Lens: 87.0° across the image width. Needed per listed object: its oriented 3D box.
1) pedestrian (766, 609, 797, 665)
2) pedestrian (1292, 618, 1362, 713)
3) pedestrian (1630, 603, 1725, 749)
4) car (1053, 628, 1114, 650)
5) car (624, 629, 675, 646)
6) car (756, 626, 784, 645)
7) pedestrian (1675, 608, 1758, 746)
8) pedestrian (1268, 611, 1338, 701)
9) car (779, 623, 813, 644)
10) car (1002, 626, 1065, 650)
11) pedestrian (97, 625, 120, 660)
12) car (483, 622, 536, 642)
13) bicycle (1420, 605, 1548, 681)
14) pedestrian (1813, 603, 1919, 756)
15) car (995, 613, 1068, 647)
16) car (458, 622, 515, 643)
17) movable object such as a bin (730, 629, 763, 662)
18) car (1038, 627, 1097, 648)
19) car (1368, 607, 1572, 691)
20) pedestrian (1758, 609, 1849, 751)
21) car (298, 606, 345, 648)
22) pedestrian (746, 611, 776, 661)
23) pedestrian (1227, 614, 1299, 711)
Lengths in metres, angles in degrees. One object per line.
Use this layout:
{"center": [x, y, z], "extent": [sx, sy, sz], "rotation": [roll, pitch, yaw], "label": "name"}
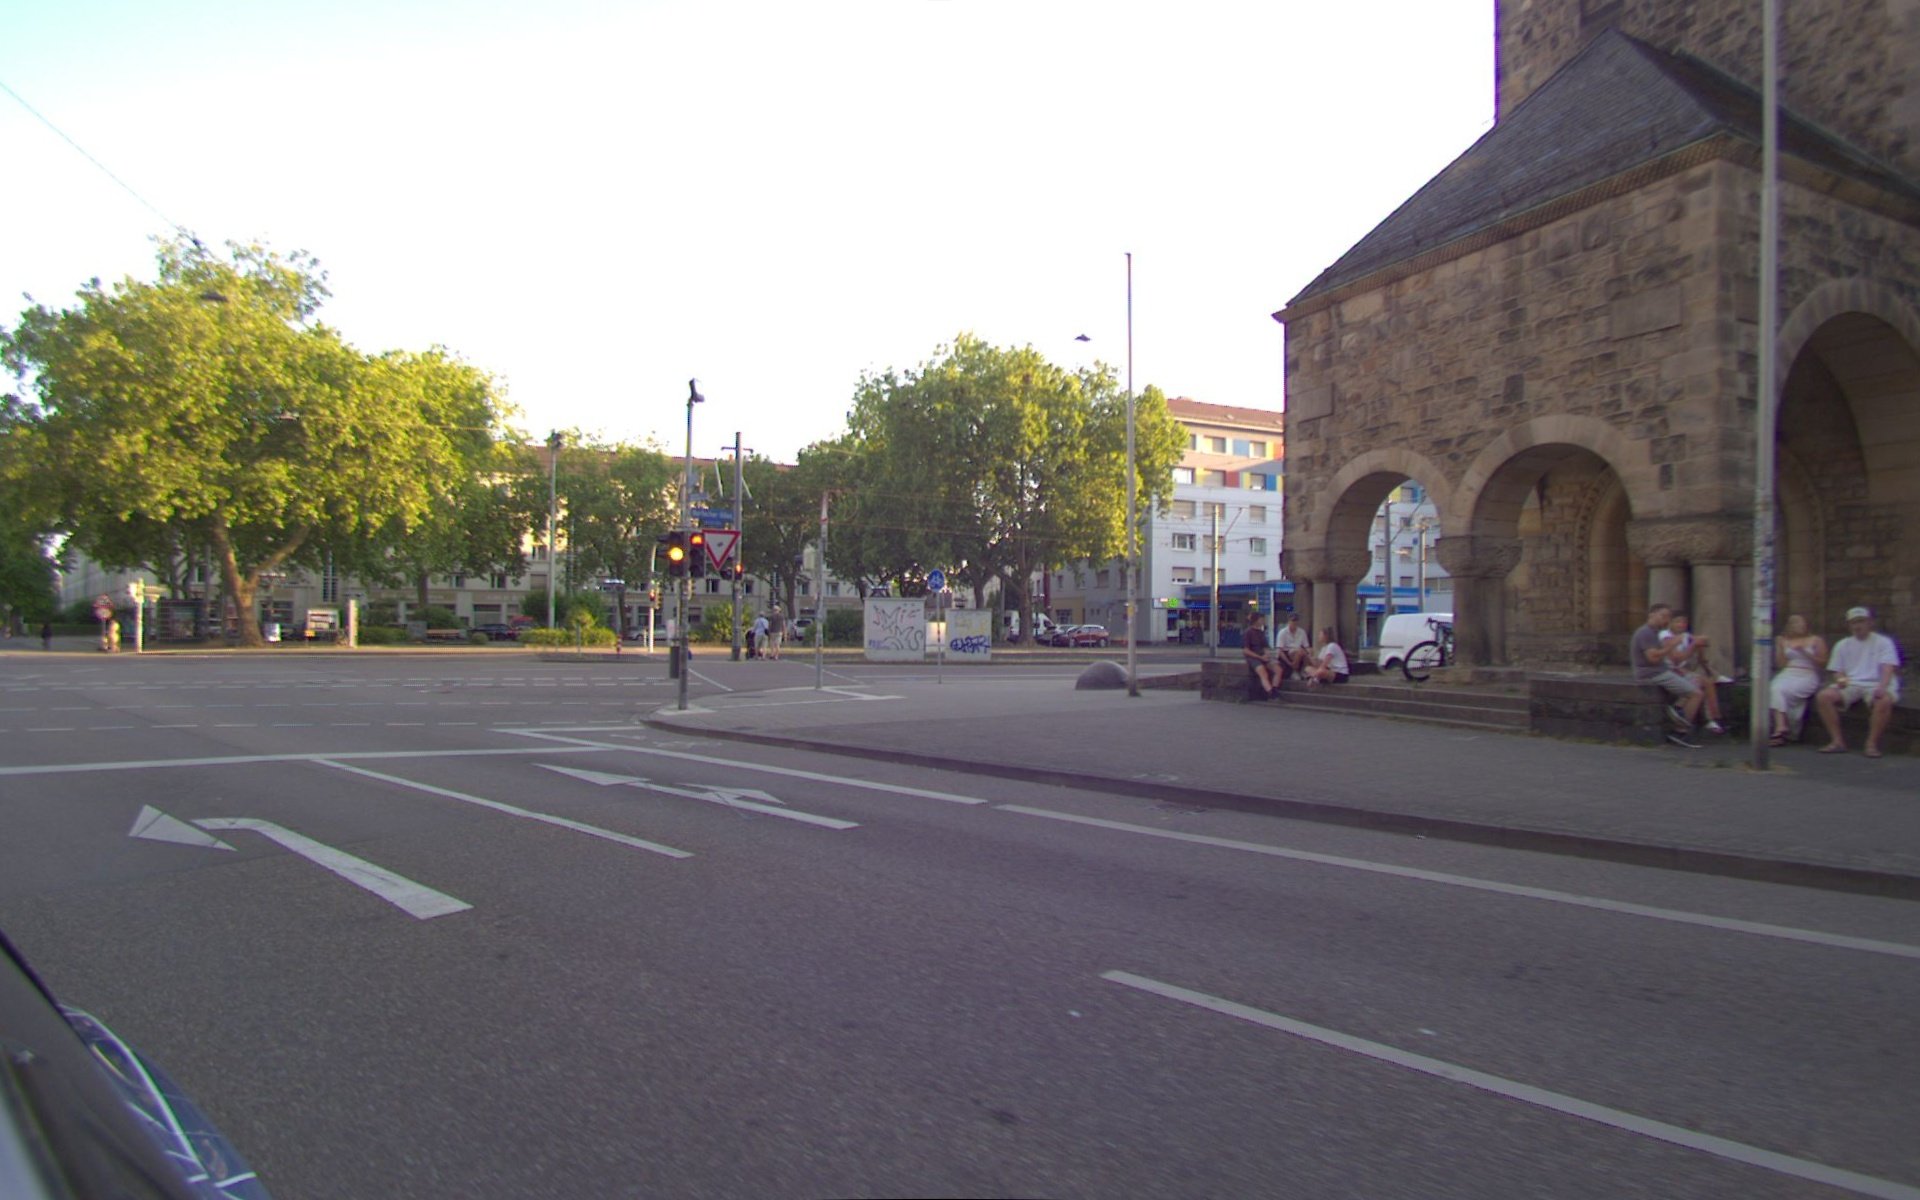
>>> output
{"center": [-6.091, 1.251, 34.515], "extent": [0.699, 1.861, 1.163], "rotation": [1, -2, -28], "label": "pedestrian"}
{"center": [5.487, 0.963, 15.159], "extent": [0.793, 1.385, 0.699], "rotation": [0, -2, 3], "label": "pedestrian"}
{"center": [7.433, 0.770, 10.498], "extent": [0.541, 1.464, 0.559], "rotation": [1, -2, -14], "label": "pedestrian"}
{"center": [8.782, 2.756, 72.093], "extent": [3.931, 1.494, 1.759], "rotation": [1, -2, -17], "label": "car"}
{"center": [-27.028, 3.244, 87.994], "extent": [3.931, 1.429, 1.815], "rotation": [1, -2, -30], "label": "car"}
{"center": [-18.272, 3.396, 97.167], "extent": [1.965, 1.752, 4.013], "rotation": [1, -2, -21], "label": "car"}
{"center": [7.985, 0.797, 10.697], "extent": [0.395, 1.417, 0.549], "rotation": [1, -2, -14], "label": "pedestrian"}
{"center": [5.441, 0.880, 16.068], "extent": [0.790, 1.385, 0.701], "rotation": [1, -2, -15], "label": "pedestrian"}
{"center": [-14.372, 2.933, 88.476], "extent": [1.965, 1.851, 4.331], "rotation": [1, -2, -22], "label": "car"}
{"center": [5.126, 2.660, 70.643], "extent": [3.930, 1.625, 2.006], "rotation": [1, -2, -22], "label": "car"}
{"center": [-40.214, 1.990, 47.805], "extent": [0.734, 1.641, 0.662], "rotation": [1, -2, -32], "label": "pedestrian"}
{"center": [-39.031, 2.802, 87.820], "extent": [3.932, 1.719, 2.006], "rotation": [1, -2, -15], "label": "car"}
{"center": [7.804, 0.634, 15.039], "extent": [2.247, 1.065, 0.597], "rotation": [2, -2, -31], "label": "bicycle"}
{"center": [8.863, 0.748, 9.782], "extent": [0.692, 1.417, 0.634], "rotation": [1, -2, -14], "label": "pedestrian"}
{"center": [5.618, 2.385, 79.647], "extent": [5.482, 2.638, 2.006], "rotation": [1, -2, -25], "label": "car"}
{"center": [-39.130, 2.715, 83.767], "extent": [3.932, 1.719, 2.006], "rotation": [1, -2, -15], "label": "car"}
{"center": [-7.462, 1.589, 35.352], "extent": [0.847, 1.128, 1.141], "rotation": [1, -2, -29], "label": "movable object such as a bin"}
{"center": [7.917, 2.736, 74.332], "extent": [3.931, 1.494, 1.759], "rotation": [1, -2, -17], "label": "car"}
{"center": [12.088, 1.133, 24.326], "extent": [1.557, 1.822, 4.420], "rotation": [1, -2, -23], "label": "car"}
{"center": [8.640, 0.803, 10.371], "extent": [0.539, 1.417, 0.460], "rotation": [1, -2, -14], "label": "pedestrian"}
{"center": [-32.086, 1.345, 50.824], "extent": [1.837, 2.029, 3.820], "rotation": [2, -2, -34], "label": "car"}
{"center": [-6.752, 1.219, 34.296], "extent": [0.708, 1.646, 1.010], "rotation": [1, -2, -28], "label": "pedestrian"}
{"center": [4.727, 0.958, 15.827], "extent": [0.619, 1.465, 0.918], "rotation": [1, -2, -22], "label": "pedestrian"}
